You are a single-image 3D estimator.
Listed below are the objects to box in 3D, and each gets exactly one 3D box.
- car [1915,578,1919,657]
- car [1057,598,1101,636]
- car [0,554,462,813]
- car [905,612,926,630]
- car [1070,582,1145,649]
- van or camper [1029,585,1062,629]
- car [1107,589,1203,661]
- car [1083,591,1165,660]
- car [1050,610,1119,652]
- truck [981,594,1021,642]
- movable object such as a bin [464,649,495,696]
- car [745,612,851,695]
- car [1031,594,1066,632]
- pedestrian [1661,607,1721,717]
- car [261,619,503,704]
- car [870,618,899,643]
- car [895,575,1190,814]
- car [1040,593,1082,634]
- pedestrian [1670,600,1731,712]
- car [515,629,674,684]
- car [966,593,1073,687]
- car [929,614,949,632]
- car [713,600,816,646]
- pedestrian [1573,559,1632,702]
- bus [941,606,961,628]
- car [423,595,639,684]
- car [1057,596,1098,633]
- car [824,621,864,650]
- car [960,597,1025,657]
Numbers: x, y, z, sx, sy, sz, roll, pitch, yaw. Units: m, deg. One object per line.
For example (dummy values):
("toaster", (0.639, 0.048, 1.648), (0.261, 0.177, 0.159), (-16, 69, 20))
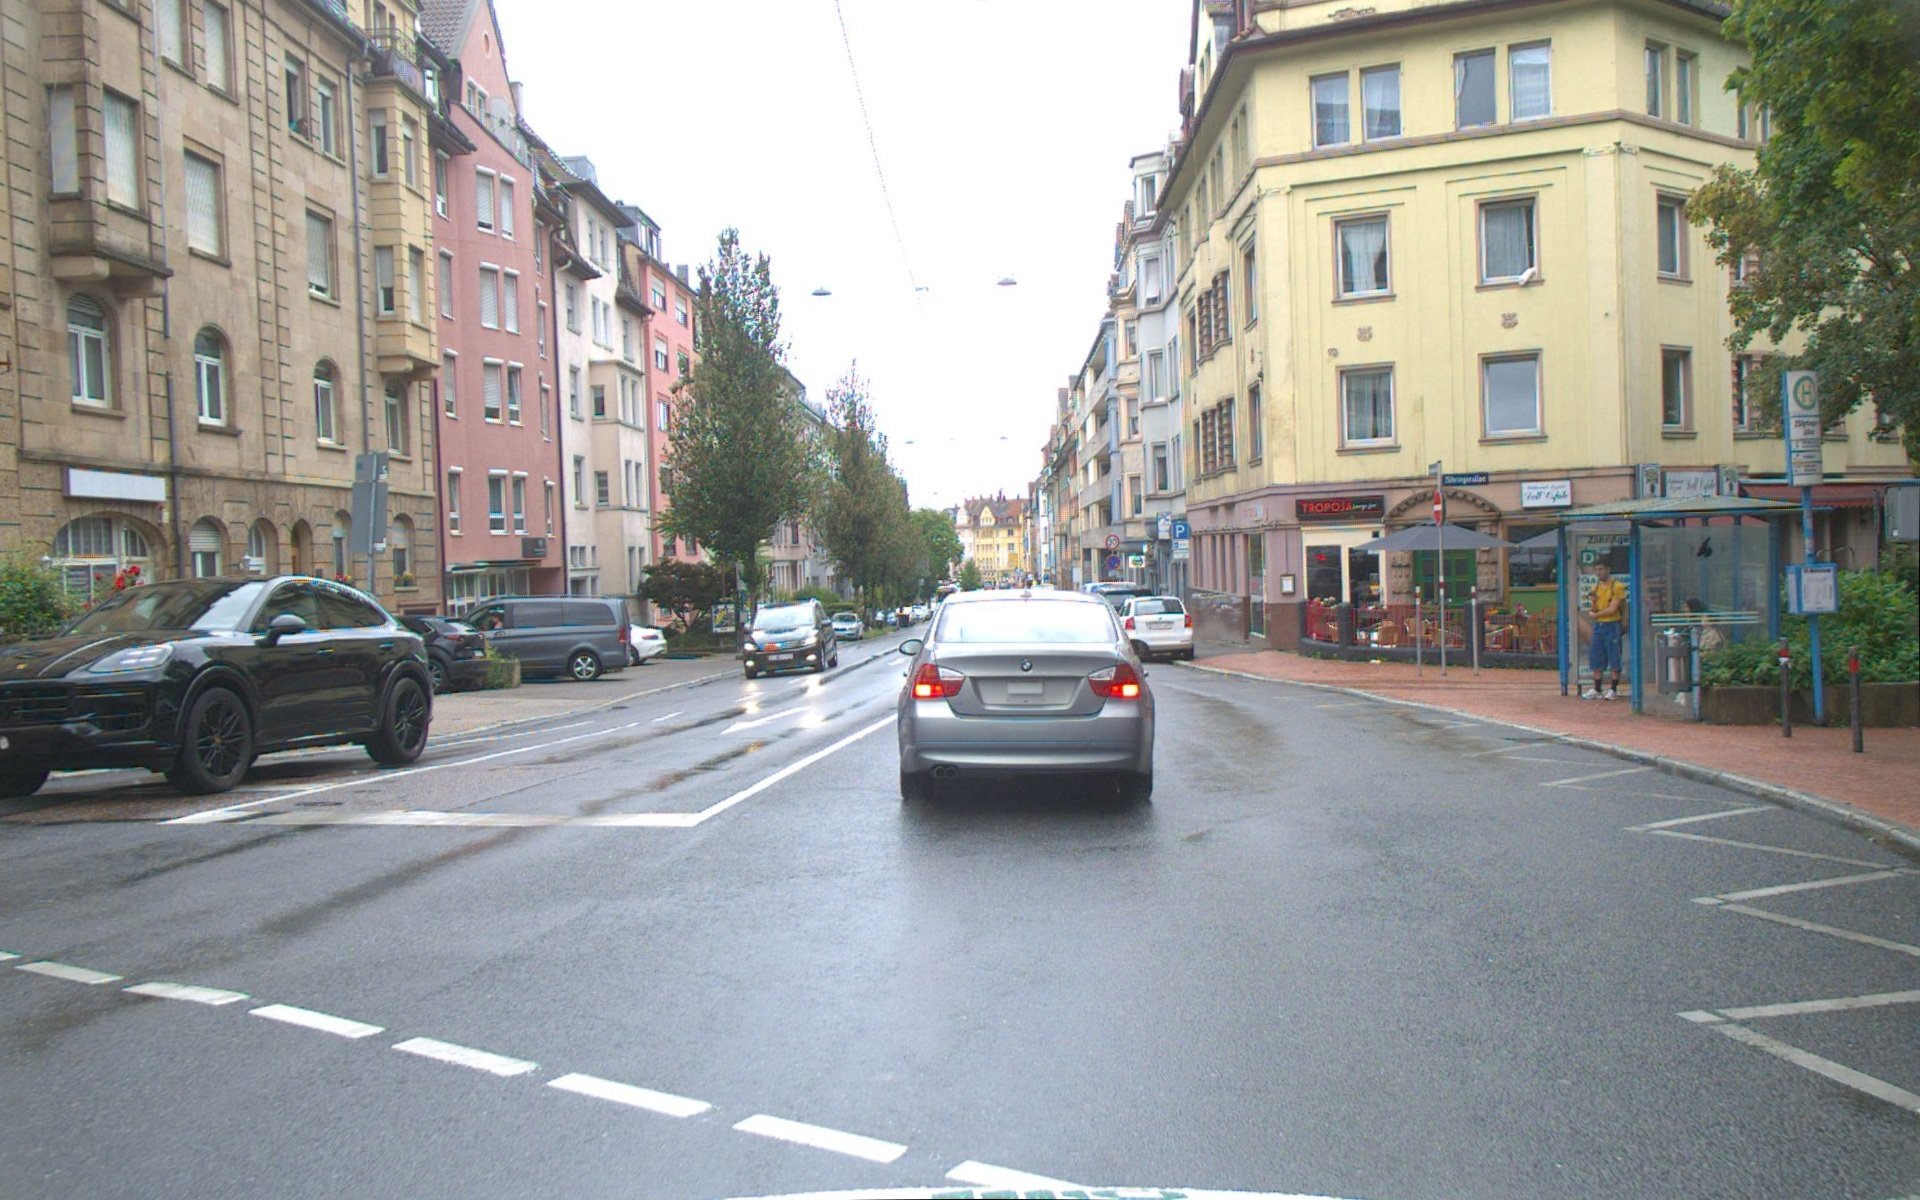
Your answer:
("car", (20.772, 0.342, 31.085), (1.774, 1.555, 4.585), (0, 0, -38))
("car", (4.972, 0.719, 69.474), (1.578, 1.500, 4.016), (-1, -1, 1))
("car", (-6.100, 0.634, 13.557), (1.923, 1.723, 4.811), (-1, -2, 9))
("car", (-4.273, 2.008, 157.992), (1.656, 1.550, 3.737), (-4, -1, 2))
("car", (4.474, 0.486, 50.790), (1.880, 1.859, 5.009), (-3, -1, 1))
("van or camper", (5.938, 0.489, 114.381), (1.990, 2.919, 6.888), (1, 0, 5))
("car", (4.576, 0.591, 39.359), (1.762, 1.592, 4.492), (0, -1, 0))
("car", (4.385, 0.681, 44.899), (1.840, 1.762, 4.677), (0, -1, 1))
("car", (4.656, 1.172, 62.482), (1.838, 1.493, 4.769), (-1, -1, -5))
("truck", (2.155, 0.964, 87.547), (1.990, 2.455, 4.826), (0, -1, 0))
("movable object such as a bin", (-9.988, 1.507, 34.367), (0.494, 0.967, 0.441), (0, -1, 6))
("car", (-3.662, 1.173, 38.063), (1.587, 1.677, 4.422), (-5, -1, 4))
("car", (5.514, 0.810, 103.928), (1.941, 2.203, 4.750), (-3, -1, 1))
("pedestrian", (8.880, 0.741, 20.108), (0.557, 1.302, 0.619), (0, 0, 14))
("car", (-11.322, 1.188, 32.576), (4.061, 1.537, 1.873), (-1, 0, 1))
("car", (-5.298, 2.117, 116.240), (1.731, 1.621, 4.000), (-4, -1, 0))
("car", (0.437, 0.576, 12.021), (1.734, 1.453, 3.738), (0, 0, -4))
("car", (5.403, 0.758, 89.155), (1.941, 2.042, 4.625), (-3, -1, 1))
("pedestrian", (8.722, 0.648, 19.487), (0.557, 1.302, 0.535), (0, 0, 13))
("car", (-11.259, 1.734, 51.152), (4.454, 1.425, 1.768), (-3, -1, 0))
("car", (1.000, 0.650, 27.502), (1.647, 1.453, 3.741), (-1, -1, 2))
("car", (-1.962, 2.138, 154.785), (1.602, 1.534, 3.755), (-5, -1, 1))
("car", (-9.713, 1.136, 82.389), (4.730, 2.008, 2.048), (-3, -1, 1))
("pedestrian", (8.287, 0.391, 21.324), (0.550, 1.806, 0.542), (0, -1, 43))
("bus", (-1.322, 2.471, 245.165), (2.614, 3.077, 7.671), (-3, -1, 1))
("car", (-9.751, 0.874, 37.915), (4.587, 1.972, 1.859), (0, 0, -9))
("car", (5.823, 0.738, 82.451), (1.691, 1.699, 4.288), (-4, -1, 1))
("car", (-6.111, 1.863, 87.269), (1.690, 1.510, 3.989), (0, -1, 2))
("car", (0.871, 0.728, 44.288), (1.662, 1.509, 3.794), (-1, -1, 1))
